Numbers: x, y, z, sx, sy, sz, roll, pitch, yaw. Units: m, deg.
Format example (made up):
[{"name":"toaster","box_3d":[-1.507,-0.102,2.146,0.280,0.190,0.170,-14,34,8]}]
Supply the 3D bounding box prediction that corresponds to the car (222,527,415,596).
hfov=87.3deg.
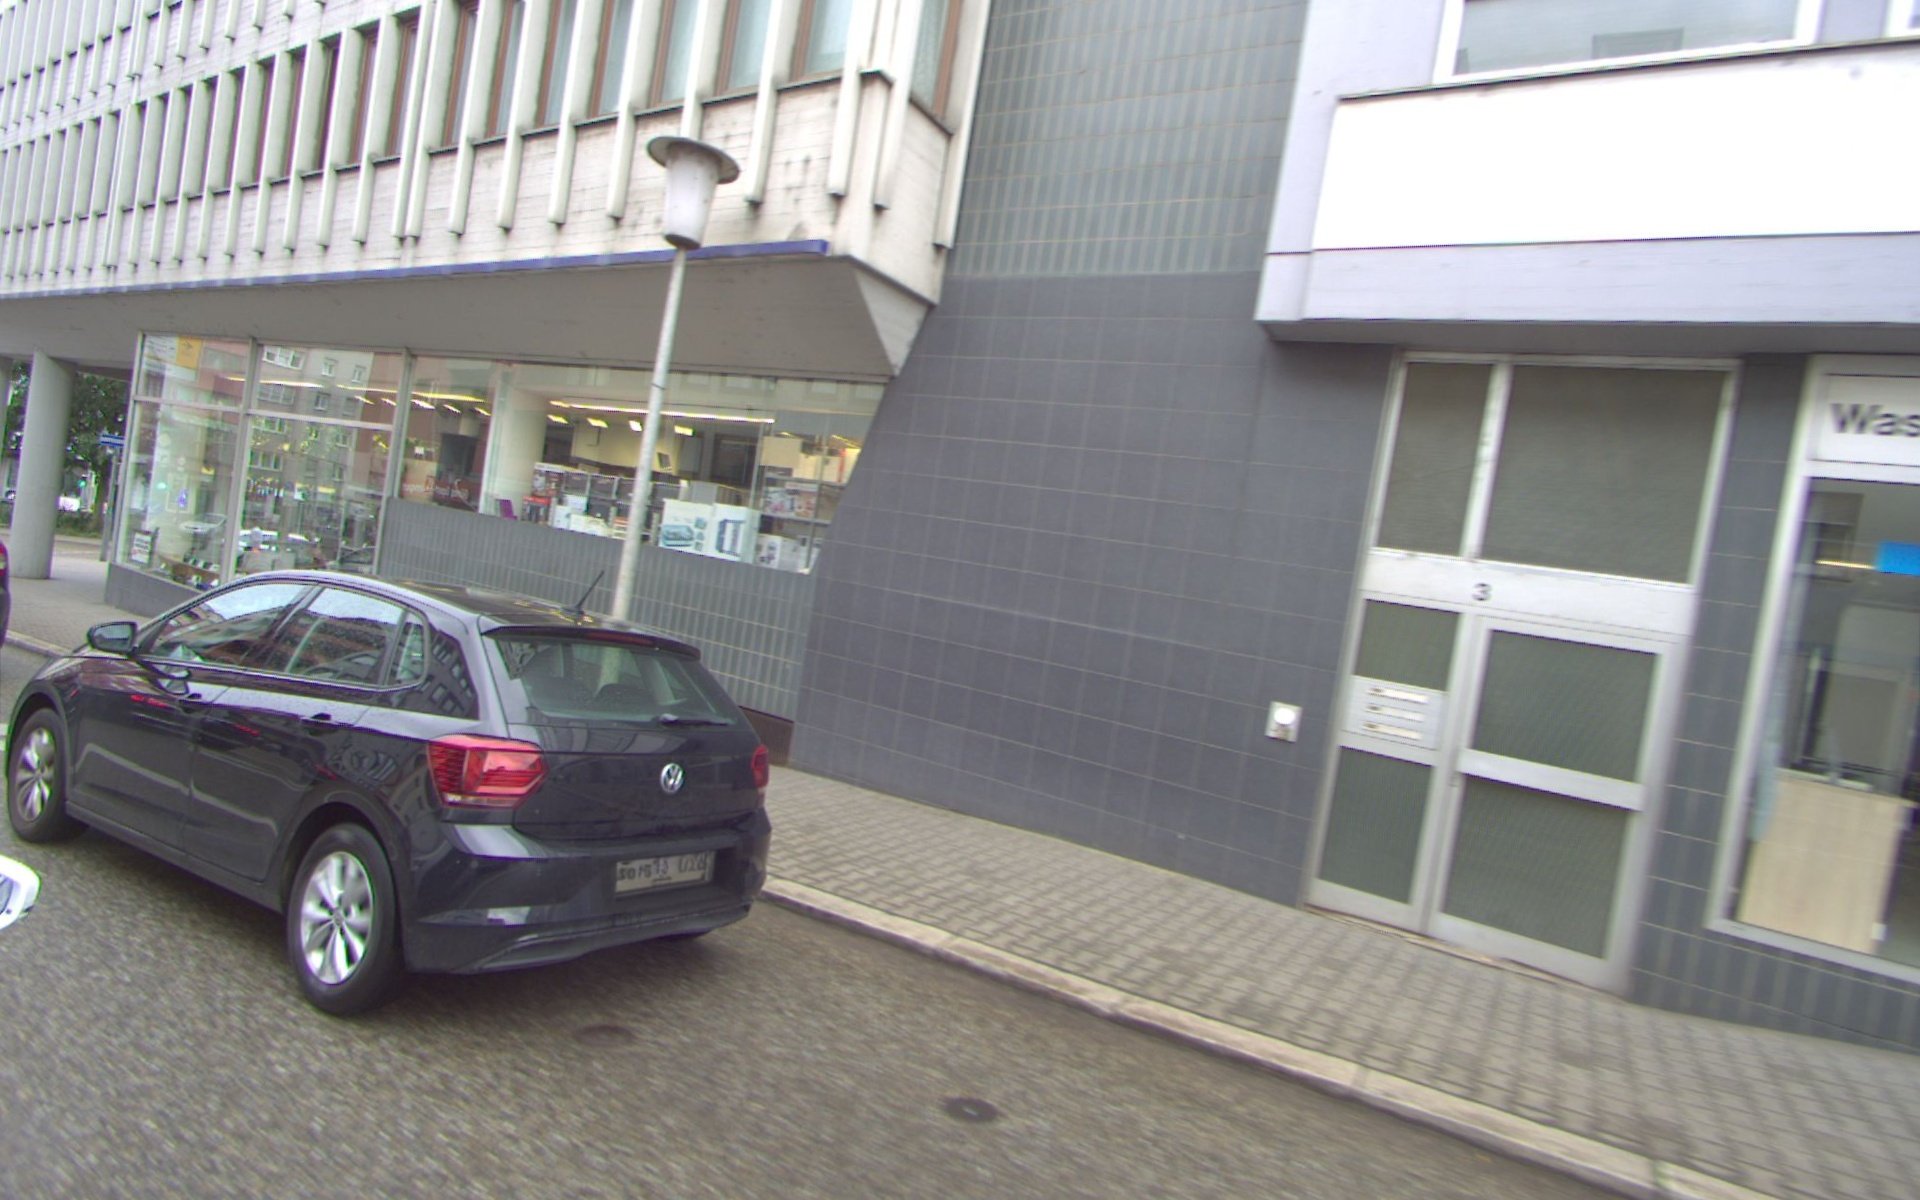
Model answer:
[{"name":"car","box_3d":[-20.526,-1.193,32.416,4.779,1.512,1.850,7,-1,-17]}]

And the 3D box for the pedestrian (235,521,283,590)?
[{"name":"pedestrian","box_3d":[-19.888,-1.252,28.528,0.815,1.841,0.722,6,2,26]}]

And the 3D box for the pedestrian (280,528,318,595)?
[{"name":"pedestrian","box_3d":[-17.768,-1.038,27.027,0.717,1.711,0.822,4,2,-37]}]

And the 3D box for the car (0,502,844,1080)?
[{"name":"car","box_3d":[-2.708,0.562,4.662,3.933,1.493,1.694,7,-4,30]}]

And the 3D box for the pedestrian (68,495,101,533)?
[{"name":"pedestrian","box_3d":[-47.792,-4.703,54.938,0.666,1.846,0.893,6,-4,15]}]

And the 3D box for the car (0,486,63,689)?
[{"name":"car","box_3d":[-10.380,-0.401,9.248,4.432,1.713,1.902,6,-4,33]}]
